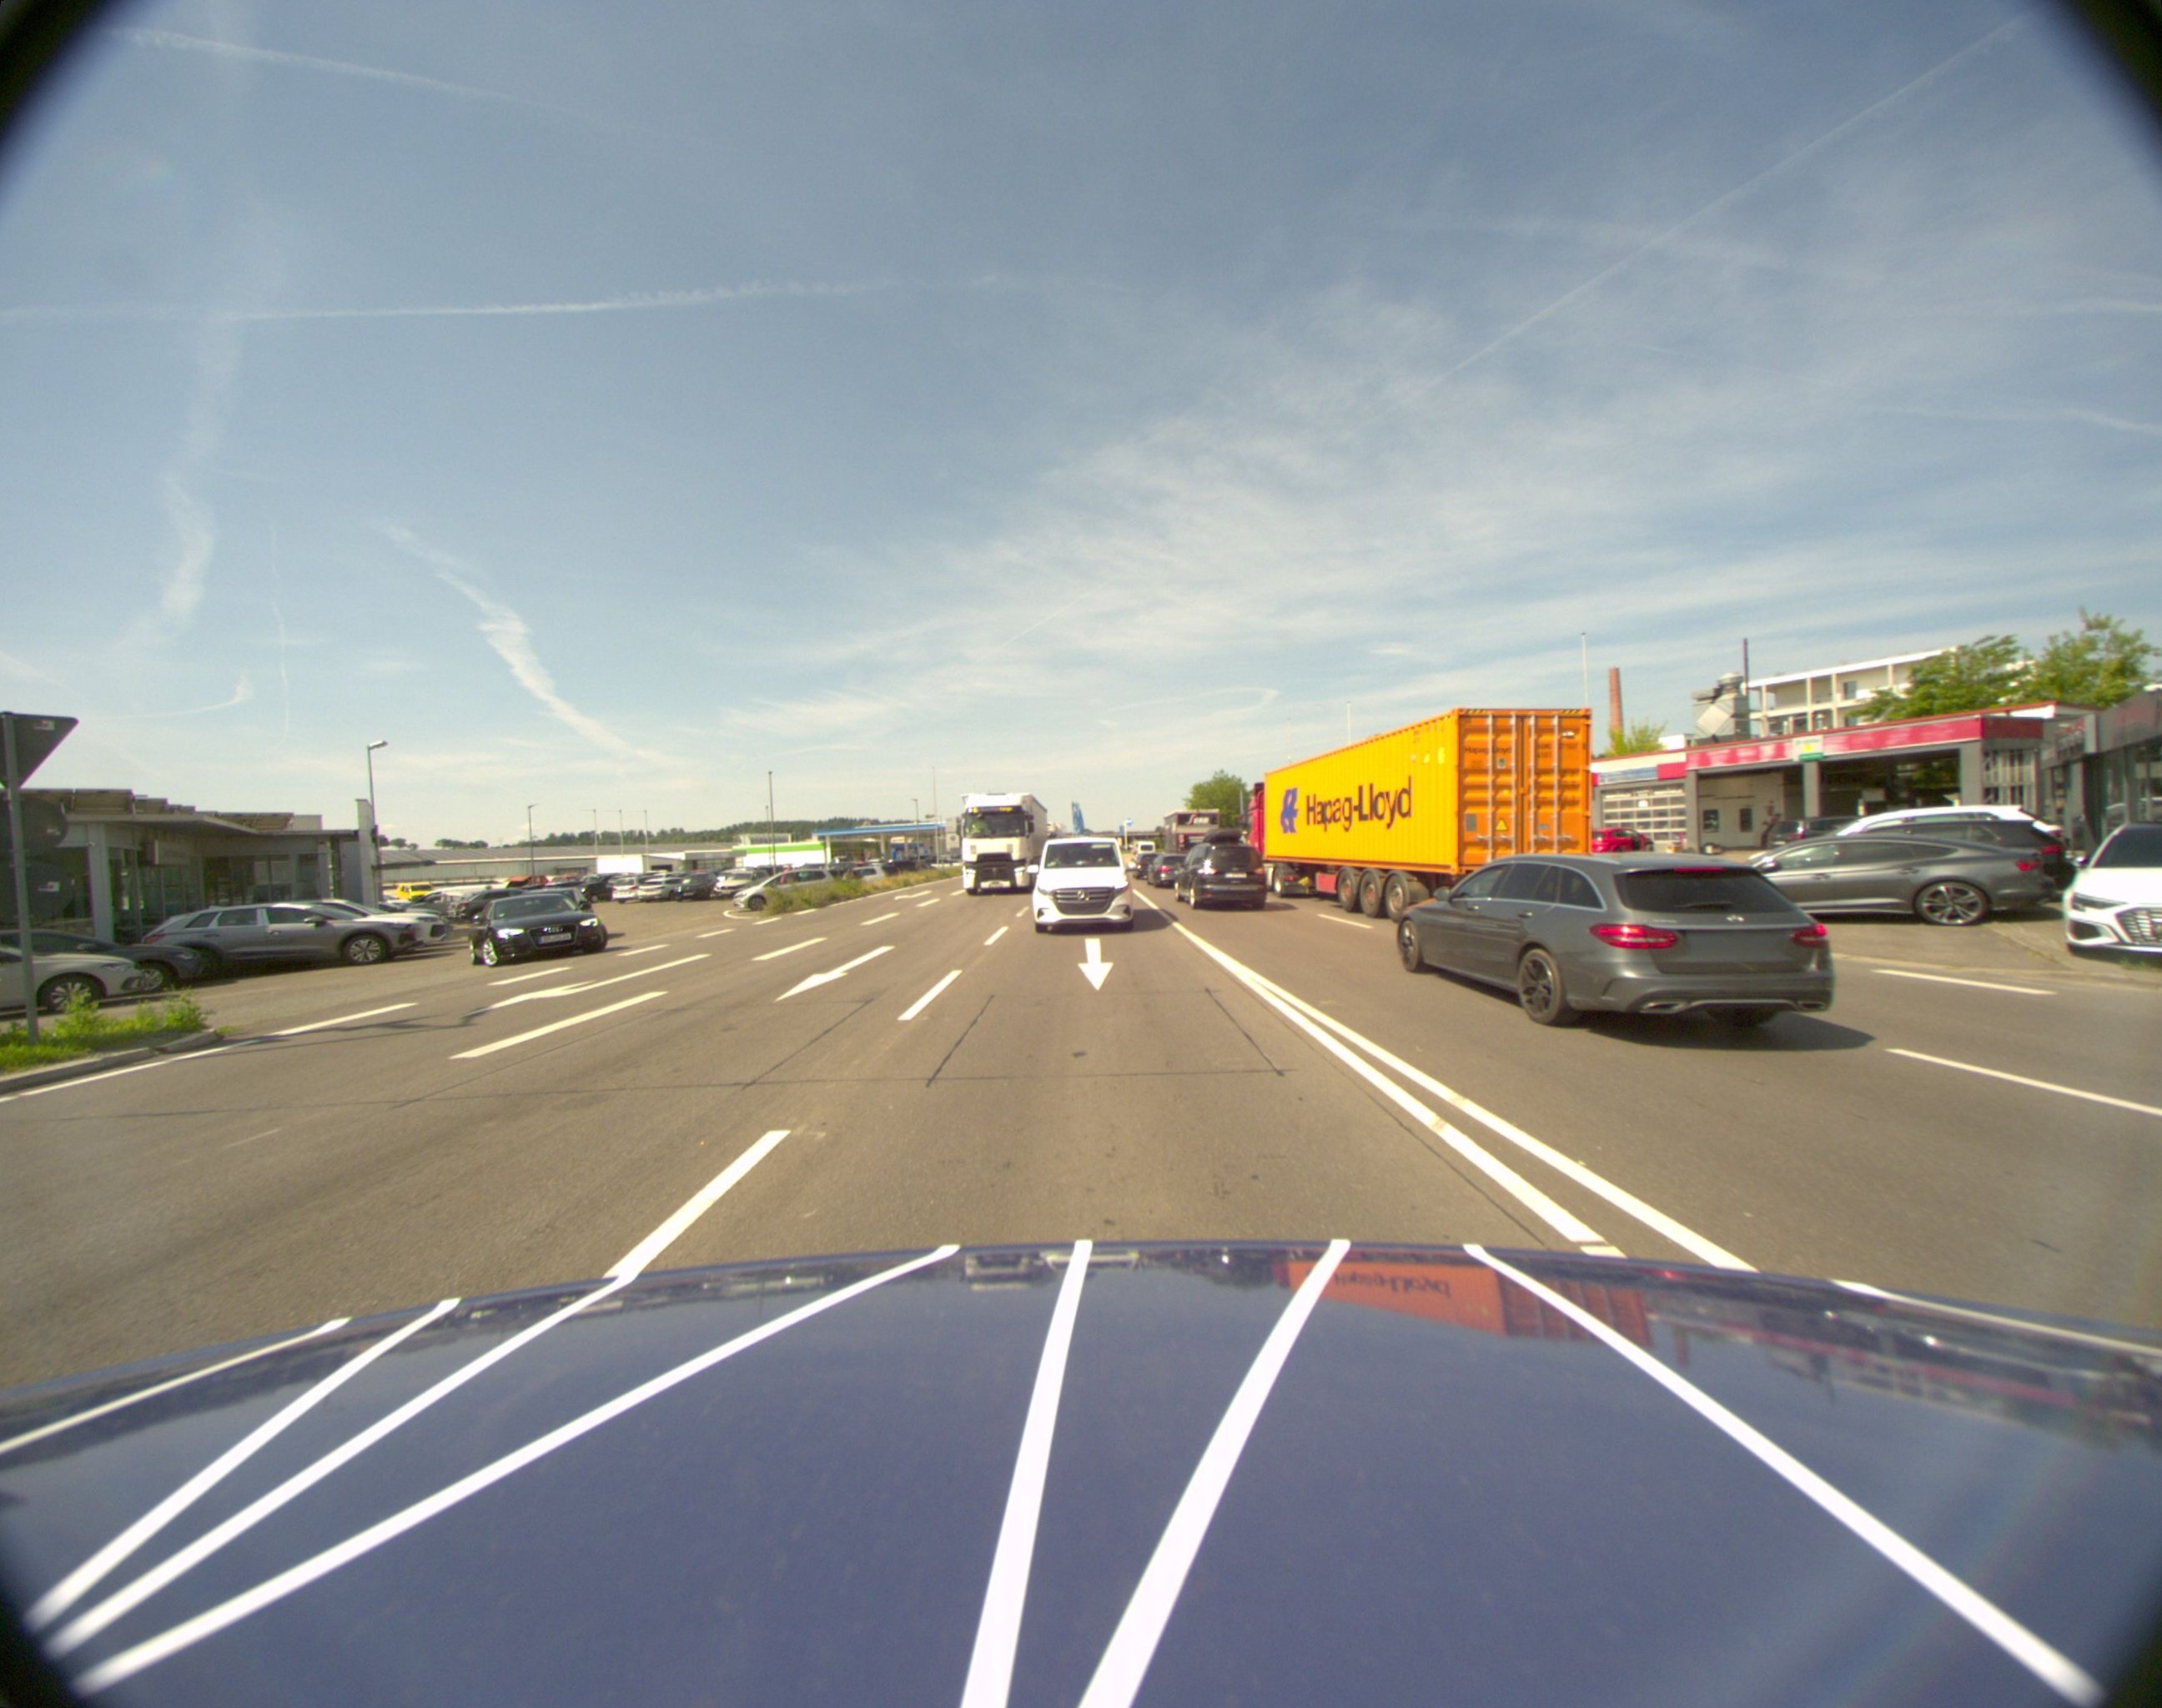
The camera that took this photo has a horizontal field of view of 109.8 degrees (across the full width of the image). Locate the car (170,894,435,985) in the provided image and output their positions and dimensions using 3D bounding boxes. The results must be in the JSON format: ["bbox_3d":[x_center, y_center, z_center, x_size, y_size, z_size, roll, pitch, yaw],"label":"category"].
[{"bbox_3d":[-18.316,1.943,18.173,4.031,1.661,1.772,-2,1,-30],"label":"car"}]

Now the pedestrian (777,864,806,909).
[{"bbox_3d":[-12.787,1.430,33.554,0.990,1.901,0.742,-3,1,-34],"label":"pedestrian"}]

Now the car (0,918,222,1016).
[{"bbox_3d":[-19.642,2.170,14.702,1.745,1.468,3.802,-1,1,36],"label":"car"}]

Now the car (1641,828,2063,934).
[{"bbox_3d":[12.428,0.452,12.722,4.629,1.428,1.978,-4,0,44],"label":"car"}]

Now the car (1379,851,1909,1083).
[{"bbox_3d":[4.808,0.790,7.568,1.926,1.593,4.589,-1,0,1],"label":"car"}]

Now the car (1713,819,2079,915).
[{"bbox_3d":[14.572,0.270,13.994,4.333,1.478,1.802,-4,0,43],"label":"car"}]

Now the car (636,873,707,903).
[{"bbox_3d":[-26.496,2.145,49.329,1.774,1.645,4.539,-2,1,6],"label":"car"}]

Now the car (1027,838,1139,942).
[{"bbox_3d":[0.068,0.635,16.848,1.993,1.858,5.803,-2,1,1],"label":"car"}]

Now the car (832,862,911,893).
[{"bbox_3d":[-12.189,1.329,44.216,4.007,1.543,1.771,-2,1,-35],"label":"car"}]

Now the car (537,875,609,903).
[{"bbox_3d":[-36.315,2.473,54.453,1.774,1.645,4.539,-2,1,5],"label":"car"}]

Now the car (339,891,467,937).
[{"bbox_3d":[-30.913,2.687,34.721,1.771,1.645,4.179,-1,1,45],"label":"car"}]

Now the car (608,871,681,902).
[{"bbox_3d":[-28.999,2.132,50.685,1.821,1.719,4.539,-2,1,6],"label":"car"}]

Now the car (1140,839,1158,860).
[{"bbox_3d":[8.493,-0.566,94.801,2.063,2.495,7.116,-2,1,5],"label":"car"}]

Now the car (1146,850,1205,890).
[{"bbox_3d":[3.846,0.607,31.729,1.866,1.515,4.588,-1,0,0],"label":"car"}]

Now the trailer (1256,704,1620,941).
[{"bbox_3d":[7.548,-0.600,19.102,2.728,3.975,12.229,-2,1,-3],"label":"trailer"}]

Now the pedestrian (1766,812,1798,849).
[{"bbox_3d":[33.883,-1.132,36.707,0.867,1.717,0.742,-4,2,-16],"label":"pedestrian"}]

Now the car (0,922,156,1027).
[{"bbox_3d":[-18.636,2.104,12.449,1.744,1.483,4.272,-1,1,36],"label":"car"}]

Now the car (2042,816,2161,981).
[{"bbox_3d":[13.387,0.392,9.081,4.722,1.467,1.888,-6,2,-33],"label":"car"}]

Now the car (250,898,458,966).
[{"bbox_3d":[-21.039,2.193,22.265,4.219,1.449,1.889,-2,1,-40],"label":"car"}]

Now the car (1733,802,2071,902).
[{"bbox_3d":[16.481,0.020,15.595,1.896,1.738,4.458,-4,0,-43],"label":"car"}]

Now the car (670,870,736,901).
[{"bbox_3d":[-23.553,1.934,47.563,1.969,1.645,4.536,-2,1,-3],"label":"car"}]

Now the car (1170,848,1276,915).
[{"bbox_3d":[3.726,0.674,20.817,1.913,1.593,4.588,-1,0,-2],"label":"car"}]

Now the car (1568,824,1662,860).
[{"bbox_3d":[26.495,-0.575,37.729,4.004,1.608,1.914,-3,1,-22],"label":"car"}]

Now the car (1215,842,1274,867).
[{"bbox_3d":[12.224,0.047,56.970,3.996,1.717,1.871,-2,1,2],"label":"car"}]

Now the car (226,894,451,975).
[{"bbox_3d":[-19.507,2.038,20.258,4.007,1.661,1.916,-2,1,-36],"label":"car"}]

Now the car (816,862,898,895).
[{"bbox_3d":[-12.157,1.306,41.308,4.005,1.549,1.709,-2,1,-27],"label":"car"}]

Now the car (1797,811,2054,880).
[{"bbox_3d":[21.922,-0.175,19.986,1.819,1.515,4.333,-4,0,-43],"label":"car"}]

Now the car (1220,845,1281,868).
[{"bbox_3d":[12.101,0.176,54.393,3.974,1.484,1.739,-2,1,-2],"label":"car"}]

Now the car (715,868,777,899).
[{"bbox_3d":[-20.964,1.830,47.766,1.908,1.645,4.708,-2,1,-3],"label":"car"}]

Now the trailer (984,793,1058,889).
[{"bbox_3d":[-2.831,-0.631,39.299,2.613,4.203,11.291,-2,1,1],"label":"trailer"}]

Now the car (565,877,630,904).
[{"bbox_3d":[-33.956,2.533,53.541,1.775,1.645,4.536,-2,1,-3],"label":"car"}]
